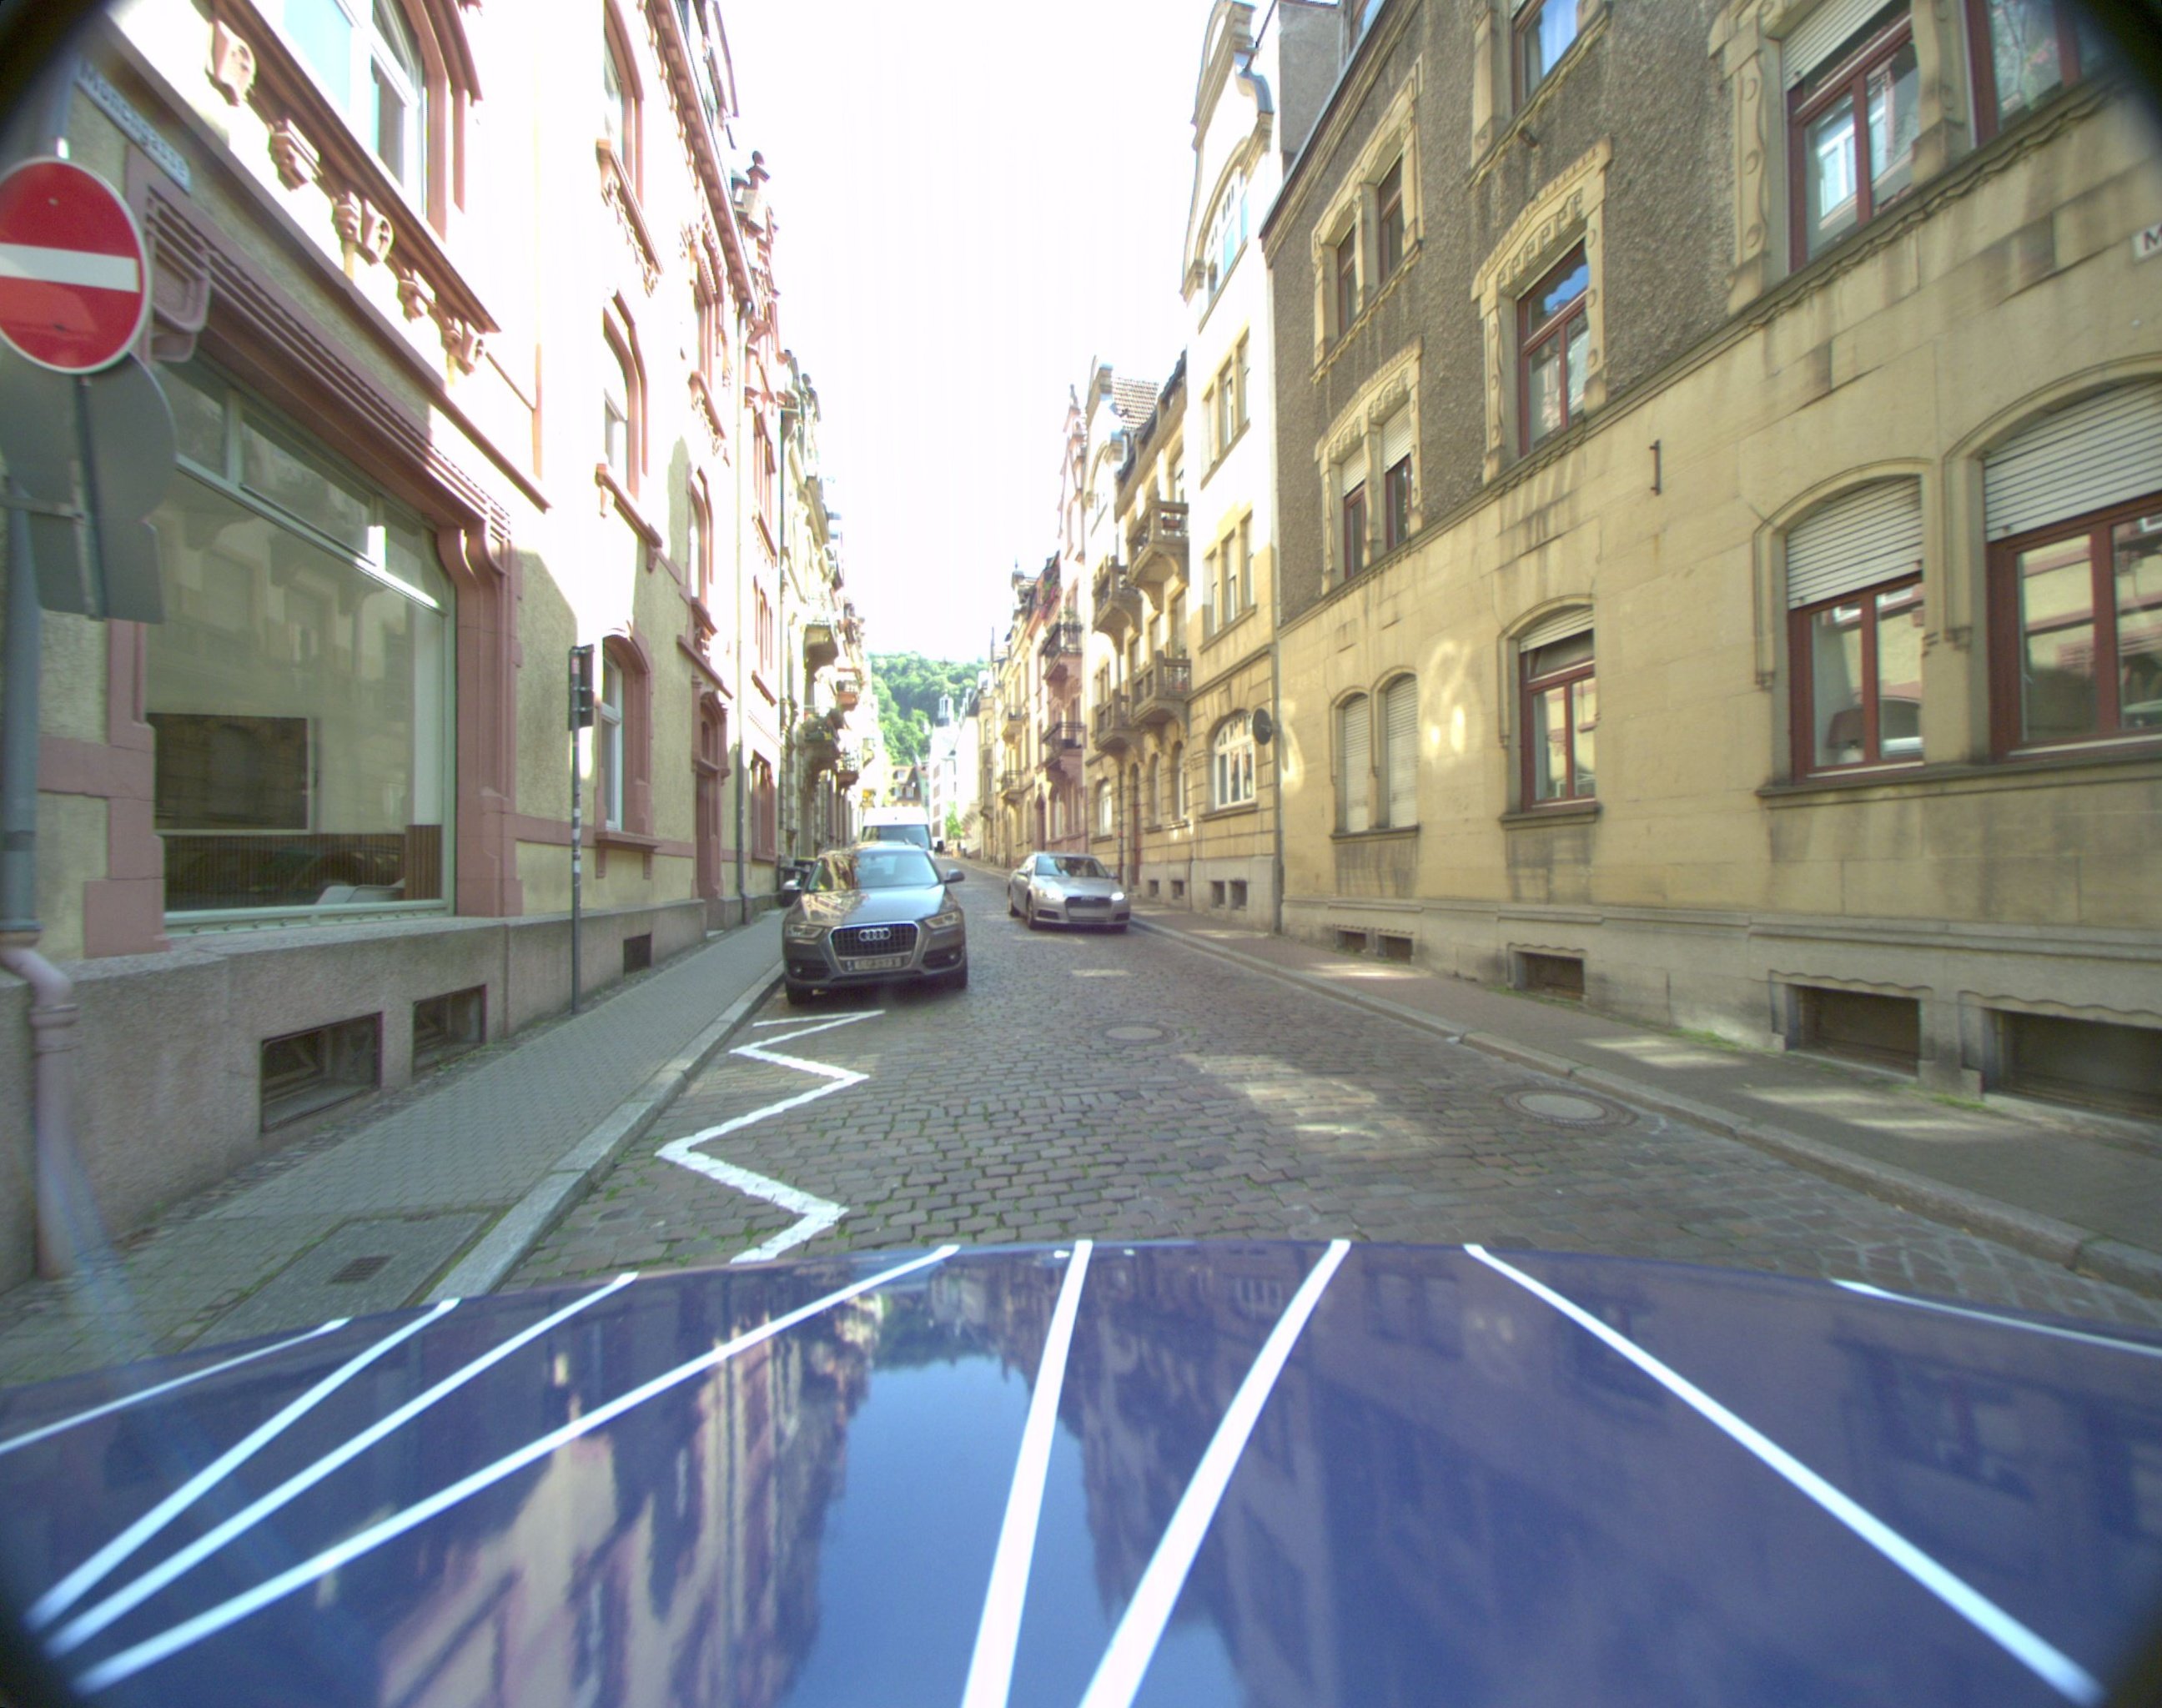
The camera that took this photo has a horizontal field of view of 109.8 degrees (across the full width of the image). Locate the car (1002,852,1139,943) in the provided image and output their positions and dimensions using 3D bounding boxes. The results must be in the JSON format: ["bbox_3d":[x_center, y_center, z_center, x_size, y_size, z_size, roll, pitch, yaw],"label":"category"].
[{"bbox_3d":[-0.379,0.719,15.061,1.878,1.484,4.378,-1,1,-12],"label":"car"}]

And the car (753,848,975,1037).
[{"bbox_3d":[-2.433,0.760,8.938,1.863,1.574,4.254,-2,1,-14],"label":"car"}]

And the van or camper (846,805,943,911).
[{"bbox_3d":[-5.211,0.020,21.395,2.227,2.506,6.758,0,1,-13],"label":"van or camper"}]

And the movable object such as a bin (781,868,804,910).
[{"bbox_3d":[-6.600,0.794,17.379,0.440,0.952,0.349,-1,0,-12],"label":"movable object such as a bin"}]

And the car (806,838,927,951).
[{"bbox_3d":[-3.849,0.607,14.123,1.762,1.696,3.995,-3,2,-12],"label":"car"}]

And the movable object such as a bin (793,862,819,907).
[{"bbox_3d":[-6.720,0.741,18.586,0.517,1.083,0.421,-1,0,-12],"label":"movable object such as a bin"}]
